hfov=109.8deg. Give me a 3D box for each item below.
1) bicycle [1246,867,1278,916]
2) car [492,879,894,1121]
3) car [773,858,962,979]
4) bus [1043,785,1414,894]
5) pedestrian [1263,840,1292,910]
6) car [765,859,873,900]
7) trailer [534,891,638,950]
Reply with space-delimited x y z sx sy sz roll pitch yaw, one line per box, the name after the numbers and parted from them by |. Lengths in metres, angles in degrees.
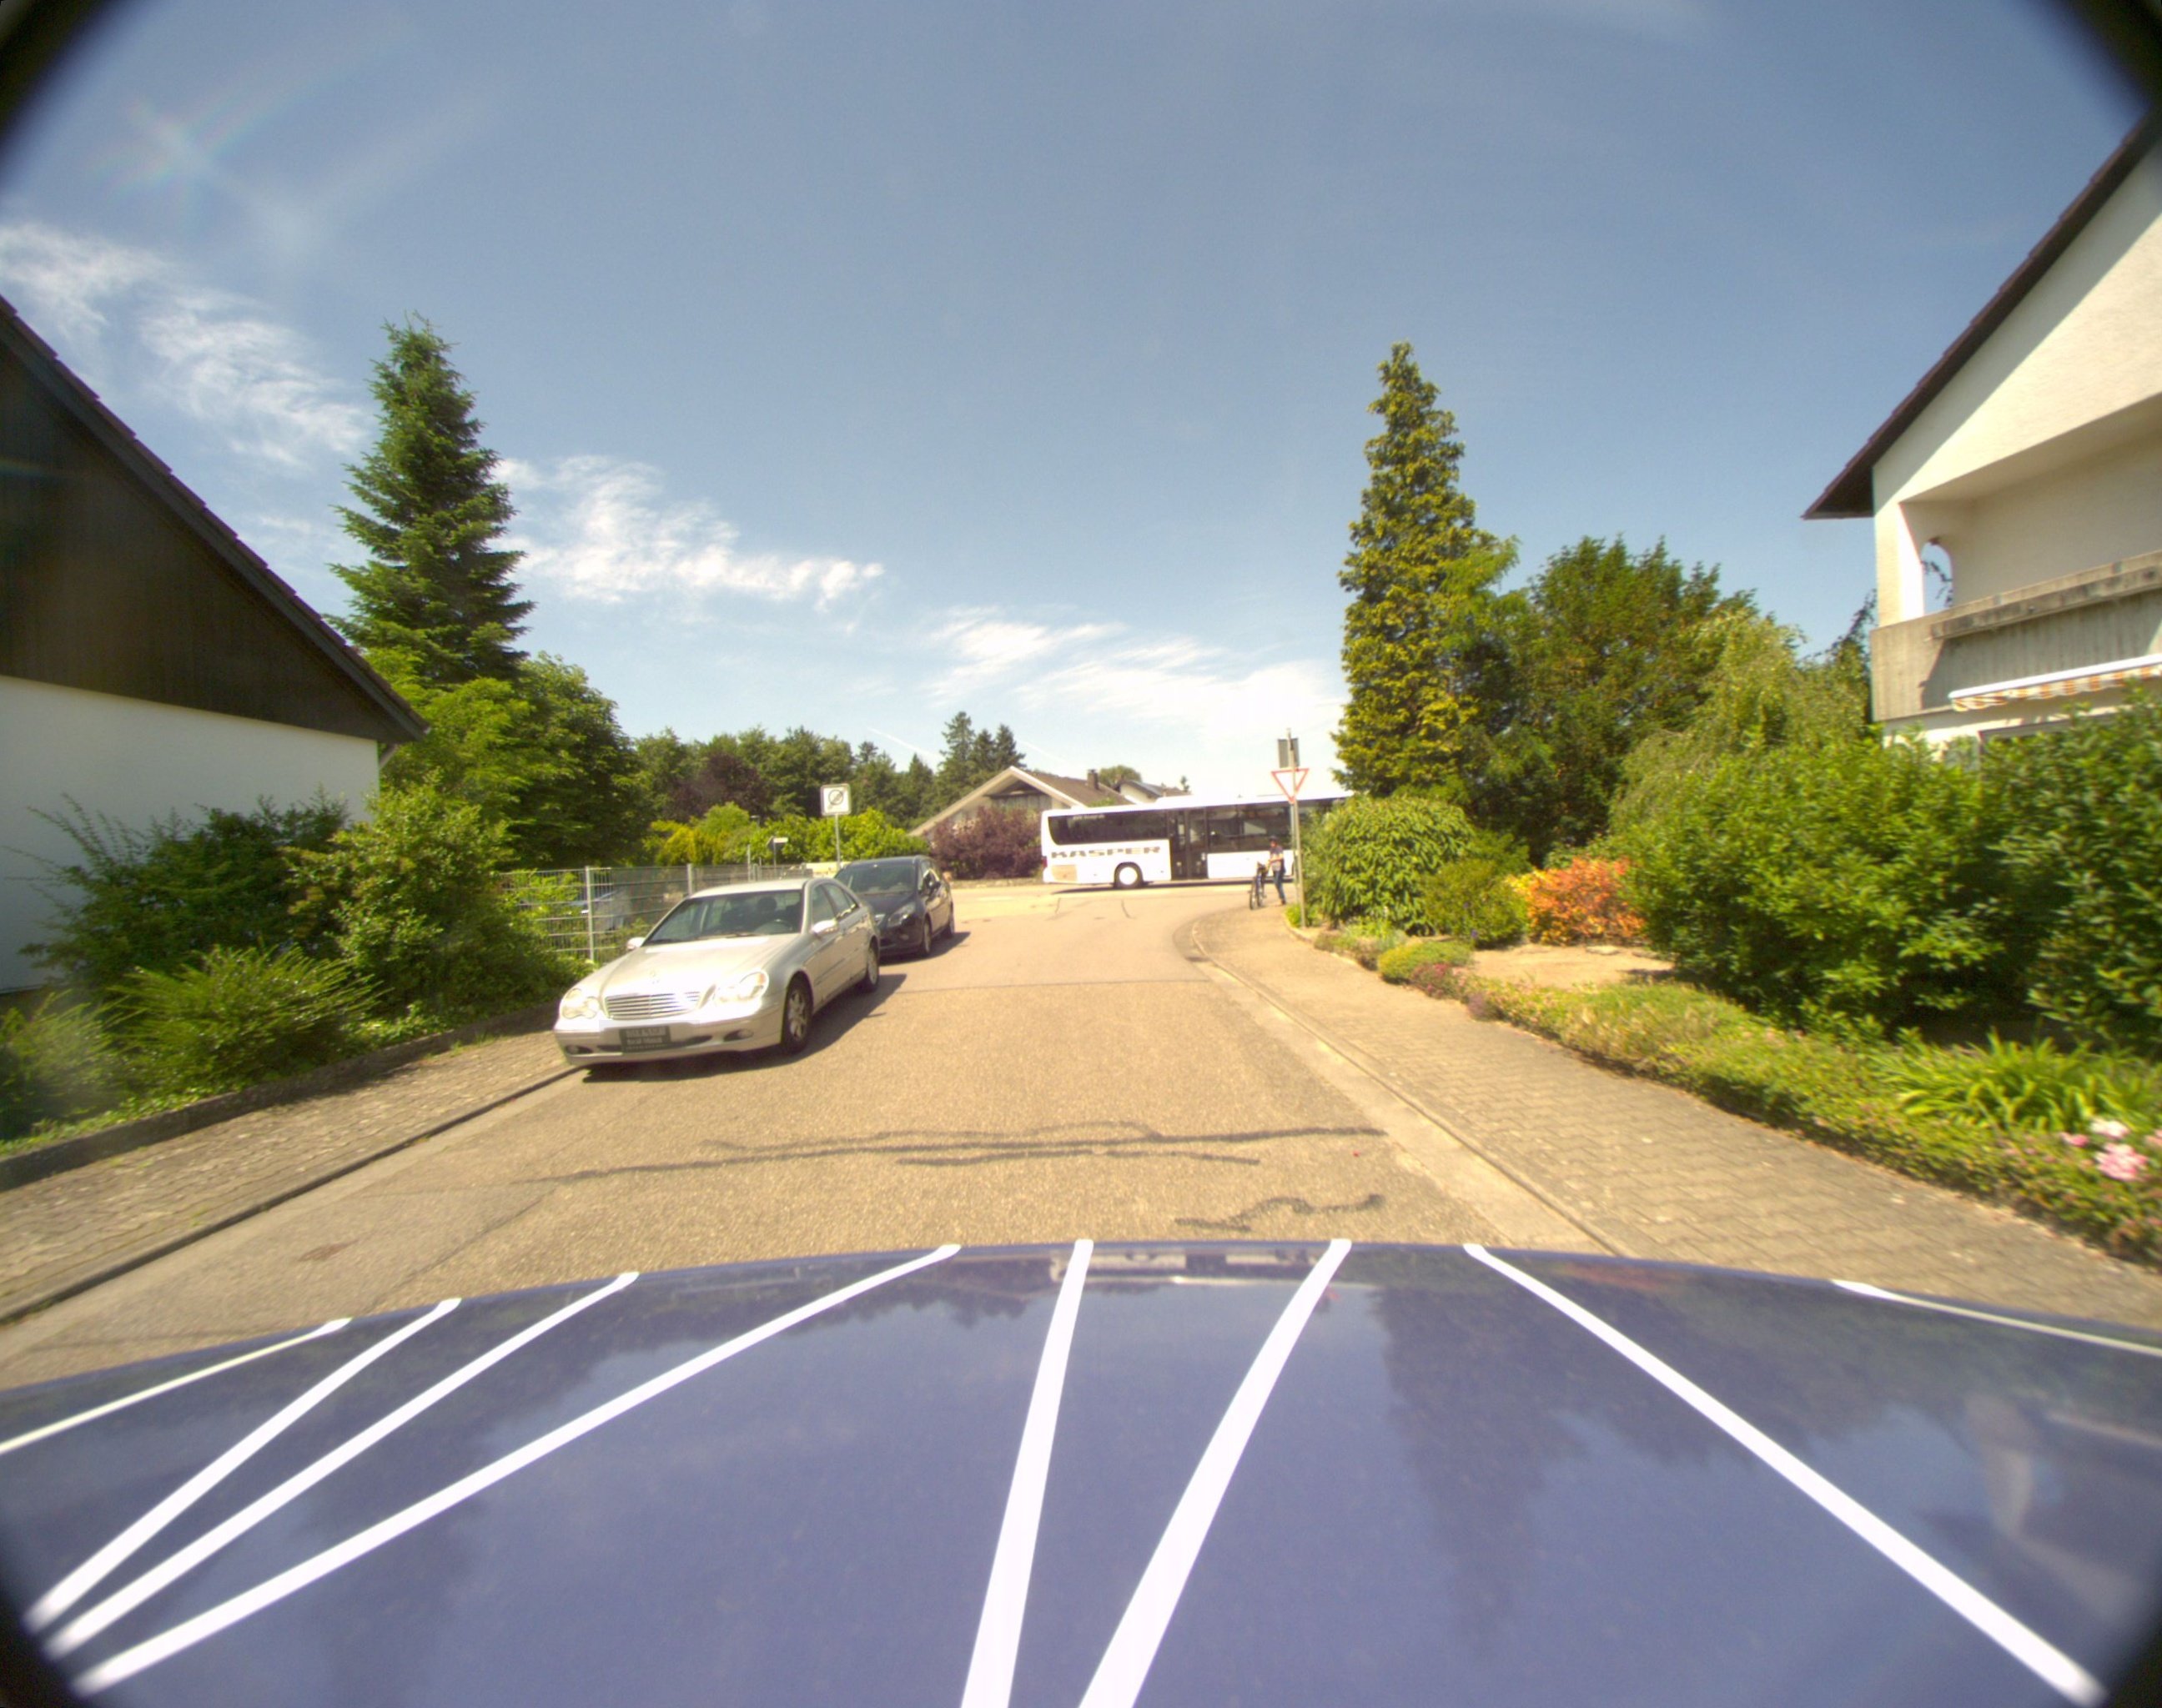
3.982 0.802 16.675 0.442 0.958 1.851 -2 0 20 | bicycle
-3.218 1.080 7.438 1.691 1.451 4.336 -2 0 -1 | car
-3.449 0.943 13.304 1.968 1.652 4.682 -2 0 -1 | car
5.212 -0.393 28.236 12.688 3.225 3.195 -3 0 15 | bus
4.306 0.457 16.629 0.503 1.492 0.612 -2 1 18 | pedestrian
-13.435 1.325 38.920 5.056 1.845 2.023 -3 1 23 | car
-10.987 1.439 16.990 1.106 1.077 2.220 -2 0 -9 | trailer
